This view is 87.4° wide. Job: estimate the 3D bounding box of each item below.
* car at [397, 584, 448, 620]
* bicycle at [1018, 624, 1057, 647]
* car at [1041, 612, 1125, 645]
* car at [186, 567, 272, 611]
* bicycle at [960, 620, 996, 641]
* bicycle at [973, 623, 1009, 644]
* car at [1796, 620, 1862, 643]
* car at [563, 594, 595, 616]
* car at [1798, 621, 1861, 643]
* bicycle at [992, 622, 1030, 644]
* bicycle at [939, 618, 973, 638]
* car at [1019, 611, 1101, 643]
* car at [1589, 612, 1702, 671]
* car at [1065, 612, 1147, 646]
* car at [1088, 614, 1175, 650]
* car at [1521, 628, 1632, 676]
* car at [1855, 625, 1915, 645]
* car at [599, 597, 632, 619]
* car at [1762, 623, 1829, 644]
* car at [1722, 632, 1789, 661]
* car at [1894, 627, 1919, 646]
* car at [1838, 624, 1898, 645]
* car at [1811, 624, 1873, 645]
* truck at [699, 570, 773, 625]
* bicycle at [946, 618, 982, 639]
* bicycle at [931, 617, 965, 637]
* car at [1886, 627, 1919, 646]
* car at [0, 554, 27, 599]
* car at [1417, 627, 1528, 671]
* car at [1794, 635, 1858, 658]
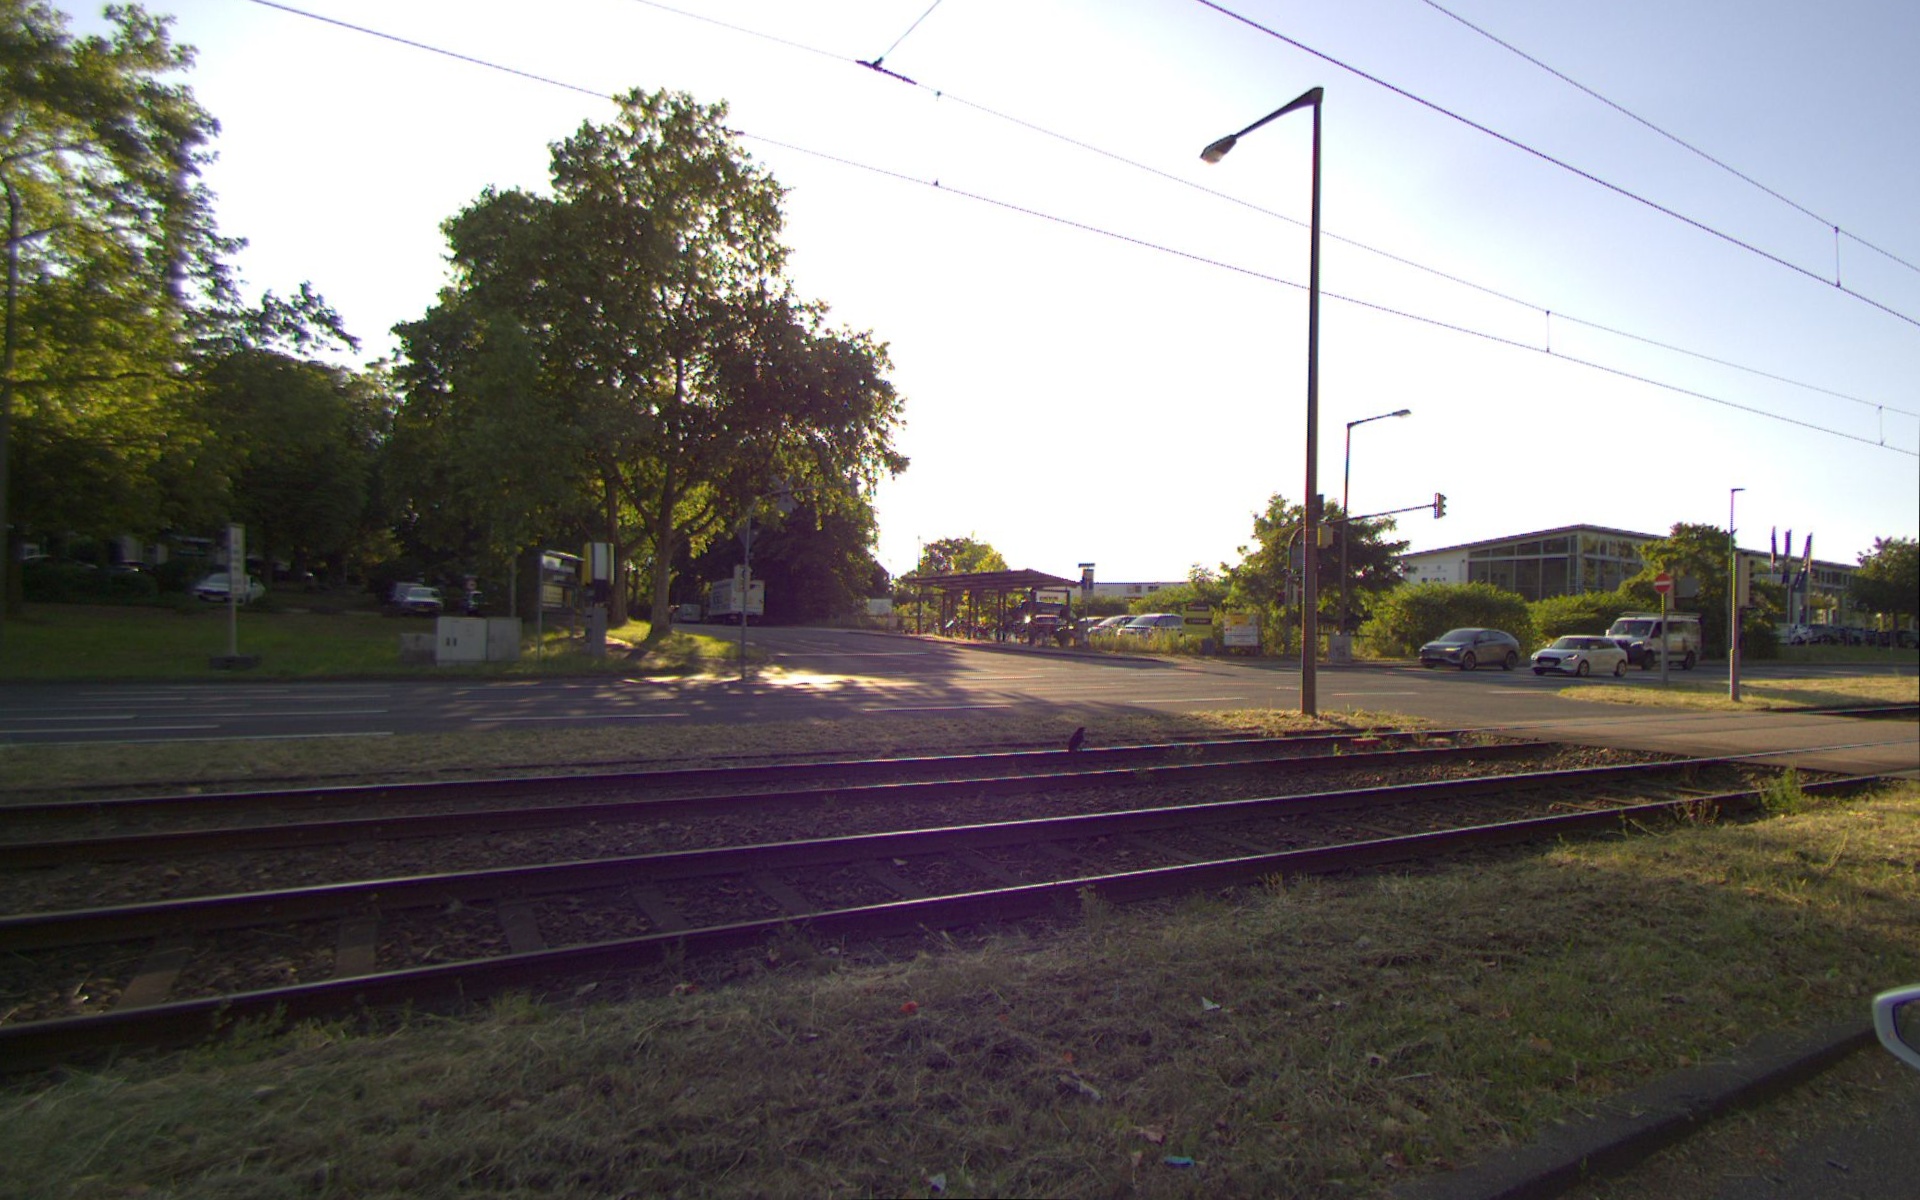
[{"bbox_3d":[-25.588,0.076,47.819,2.019,1.595,4.369,2,0,-29],"label":"car"},{"bbox_3d":[3.703,1.716,47.943,1.870,1.052,0.540,2,0,-29],"label":"bicycle"},{"bbox_3d":[6.907,1.597,56.427,4.271,1.670,2.103,3,0,-31],"label":"car"},{"bbox_3d":[-31.926,-0.456,44.034,1.972,1.729,4.871,2,0,-24],"label":"car"},{"bbox_3d":[0.971,1.635,53.425,1.870,1.052,0.540,2,0,-29],"label":"bicycle"},{"bbox_3d":[1.648,1.753,52.867,1.870,1.052,0.540,2,0,-29],"label":"bicycle"},{"bbox_3d":[66.107,2.374,76.448,3.745,1.588,1.750,2,-1,42],"label":"car"},{"bbox_3d":[-29.777,0.382,78.392,1.828,1.572,3.971,2,0,-27],"label":"car"},{"bbox_3d":[69.962,2.568,80.885,3.745,1.588,1.750,2,-1,42],"label":"car"},{"bbox_3d":[2.597,1.681,50.828,1.870,1.052,0.540,2,0,-29],"label":"bicycle"},{"bbox_3d":[-0.214,1.576,56.126,1.868,1.052,0.541,2,0,-25],"label":"bicycle"},{"bbox_3d":[5.822,1.571,58.405,4.271,1.670,2.103,3,0,-31],"label":"car"},{"bbox_3d":[32.469,1.970,47.512,5.805,2.600,1.994,2,0,-29],"label":"car"},{"bbox_3d":[7.908,1.561,54.373,3.954,1.670,2.103,3,0,-31],"label":"car"},{"bbox_3d":[8.827,1.653,51.689,3.954,1.670,2.103,3,0,-31],"label":"car"},{"bbox_3d":[23.002,1.944,37.442,3.953,1.639,1.861,2,0,-30],"label":"car"},{"bbox_3d":[80.173,3.032,87.143,3.745,1.588,1.750,2,-1,42],"label":"car"},{"bbox_3d":[-26.925,0.601,78.488,1.828,1.572,3.971,2,0,-27],"label":"car"},{"bbox_3d":[62.416,2.506,75.054,3.745,1.407,1.750,2,-1,42],"label":"car"},{"bbox_3d":[58.751,3.419,74.233,3.745,1.884,1.750,2,0,42],"label":"car"},{"bbox_3d":[87.825,3.377,91.595,3.745,1.588,1.750,2,-1,42],"label":"car"},{"bbox_3d":[77.243,2.900,85.529,3.745,1.588,1.750,2,-1,42],"label":"car"},{"bbox_3d":[72.344,2.818,82.430,3.745,1.588,1.750,2,-1,42],"label":"car"},{"bbox_3d":[-17.901,-0.200,79.538,3.153,3.927,11.024,2,0,-26],"label":"truck"},{"bbox_3d":[0.226,1.559,54.915,1.868,1.052,0.541,2,0,-25],"label":"bicycle"},{"bbox_3d":[-0.660,1.547,57.428,1.868,1.052,0.541,2,0,-25],"label":"bicycle"},{"bbox_3d":[85.552,3.272,90.010,3.745,1.588,1.750,2,-1,42],"label":"car"},{"bbox_3d":[-38.918,-0.967,40.207,1.811,1.710,4.180,2,-1,-37],"label":"car"},{"bbox_3d":[20.782,2.000,40.661,4.495,1.639,1.861,2,-1,-30],"label":"car"},{"bbox_3d":[67.812,3.628,78.694,3.745,1.588,1.750,2,-1,42],"label":"car"}]
